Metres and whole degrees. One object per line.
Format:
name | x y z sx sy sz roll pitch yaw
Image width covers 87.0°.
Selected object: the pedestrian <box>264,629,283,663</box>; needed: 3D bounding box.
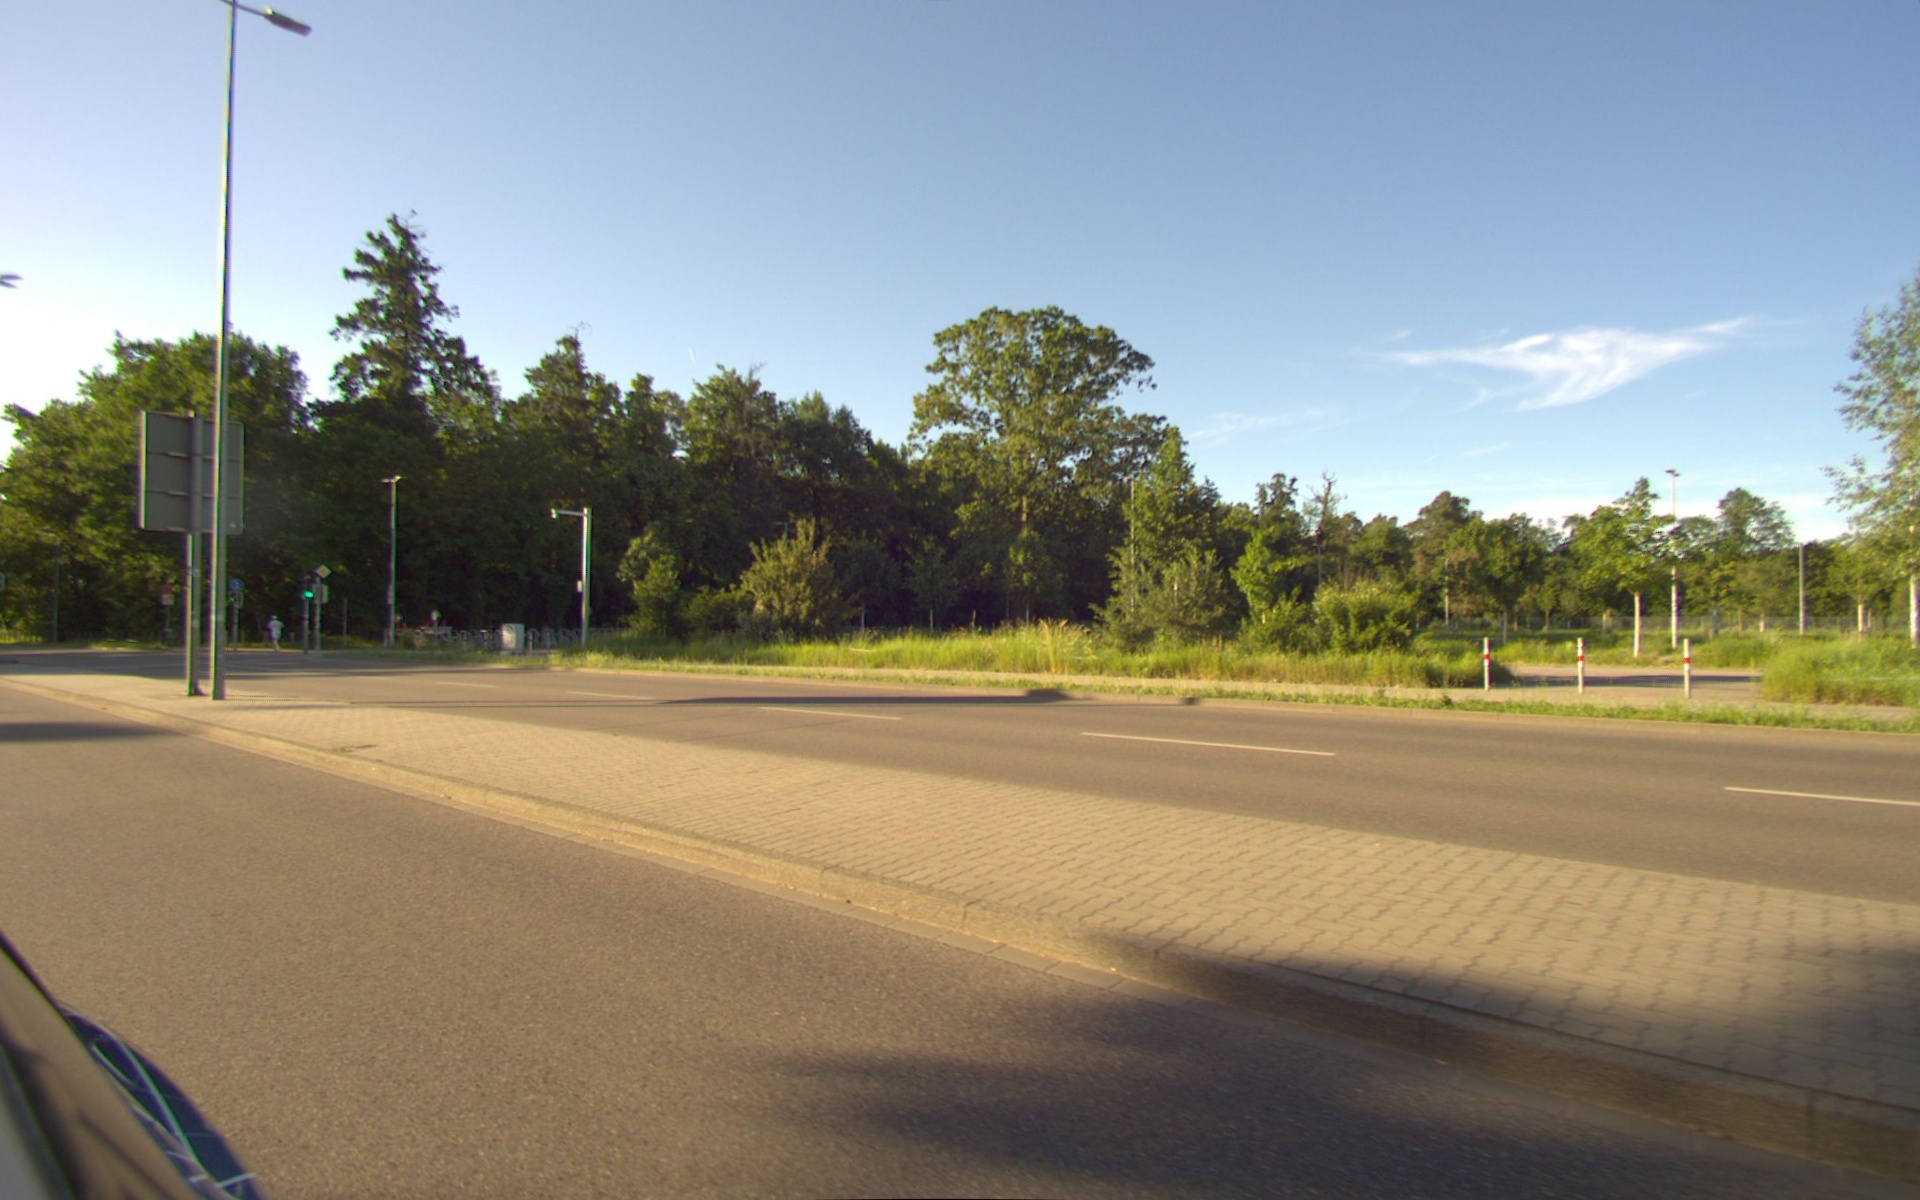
pedestrian | -36.255 2.427 53.460 0.734 1.788 0.682 -3 -4 43
